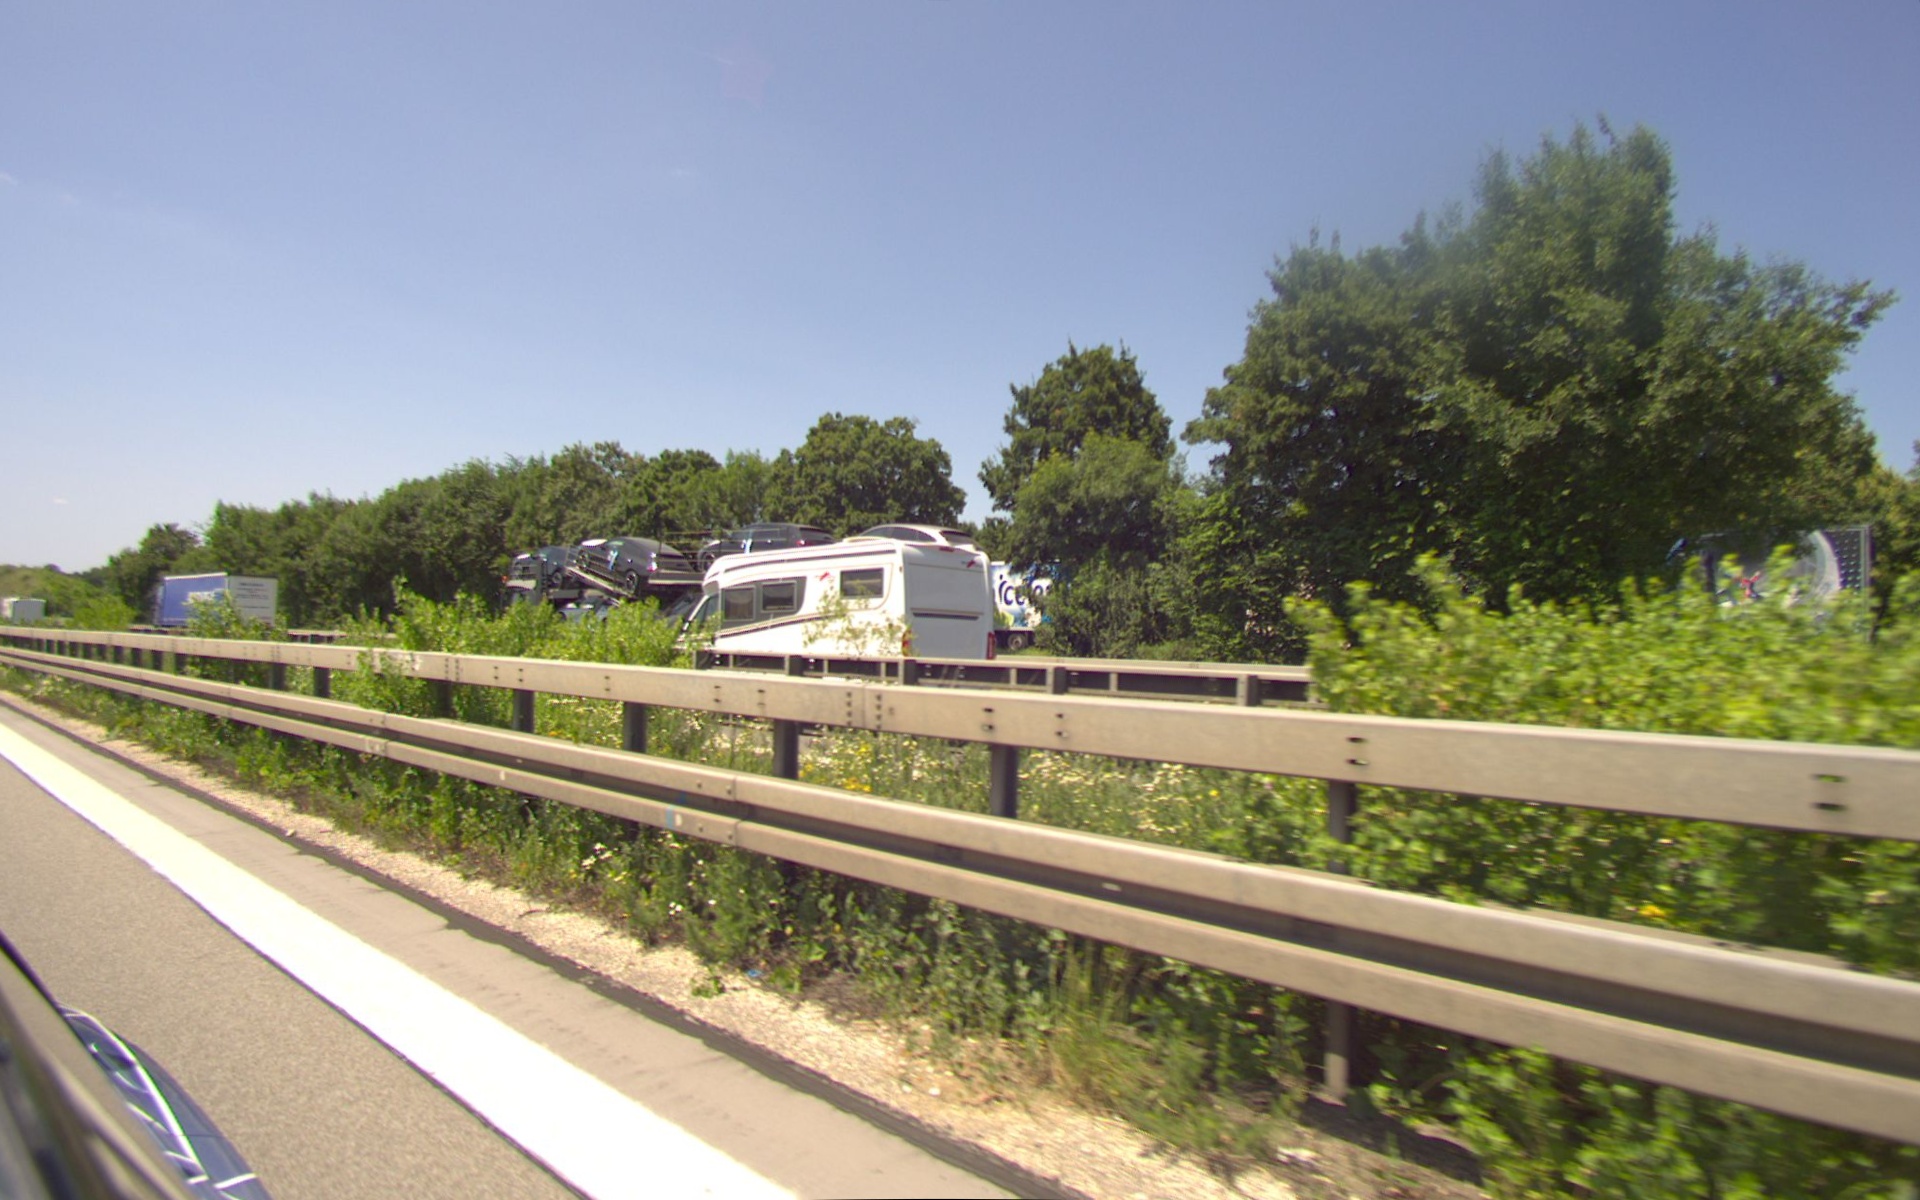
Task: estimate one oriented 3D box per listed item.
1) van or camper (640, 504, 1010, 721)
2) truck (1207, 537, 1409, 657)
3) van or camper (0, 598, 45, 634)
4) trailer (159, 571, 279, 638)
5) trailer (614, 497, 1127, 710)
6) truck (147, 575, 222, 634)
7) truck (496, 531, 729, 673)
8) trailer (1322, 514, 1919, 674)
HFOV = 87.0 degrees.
[{"bbox_3d":[-2.759,0.241,18.738,7.371,3.292,2.497,0,-3,41],"label":"van or camper"},{"bbox_3d":[12.039,-0.096,35.292,6.096,3.811,2.767,0,0,41],"label":"truck"},{"bbox_3d":[-82.501,1.409,88.902,6.950,2.991,2.246,-1,-3,41],"label":"van or camper"},{"bbox_3d":[-45.967,0.261,62.466,14.522,3.762,2.813,0,0,41],"label":"trailer"},{"bbox_3d":[-3.179,0.070,24.506,15.173,3.876,2.657,0,0,41],"label":"trailer"},{"bbox_3d":[-51.677,0.267,67.395,5.690,3.773,2.819,0,0,41],"label":"truck"},{"bbox_3d":[-11.008,0.061,31.412,9.149,3.848,2.648,0,0,41],"label":"truck"},{"bbox_3d":[18.294,-0.131,29.795,14.405,3.807,2.739,0,0,41],"label":"trailer"}]
